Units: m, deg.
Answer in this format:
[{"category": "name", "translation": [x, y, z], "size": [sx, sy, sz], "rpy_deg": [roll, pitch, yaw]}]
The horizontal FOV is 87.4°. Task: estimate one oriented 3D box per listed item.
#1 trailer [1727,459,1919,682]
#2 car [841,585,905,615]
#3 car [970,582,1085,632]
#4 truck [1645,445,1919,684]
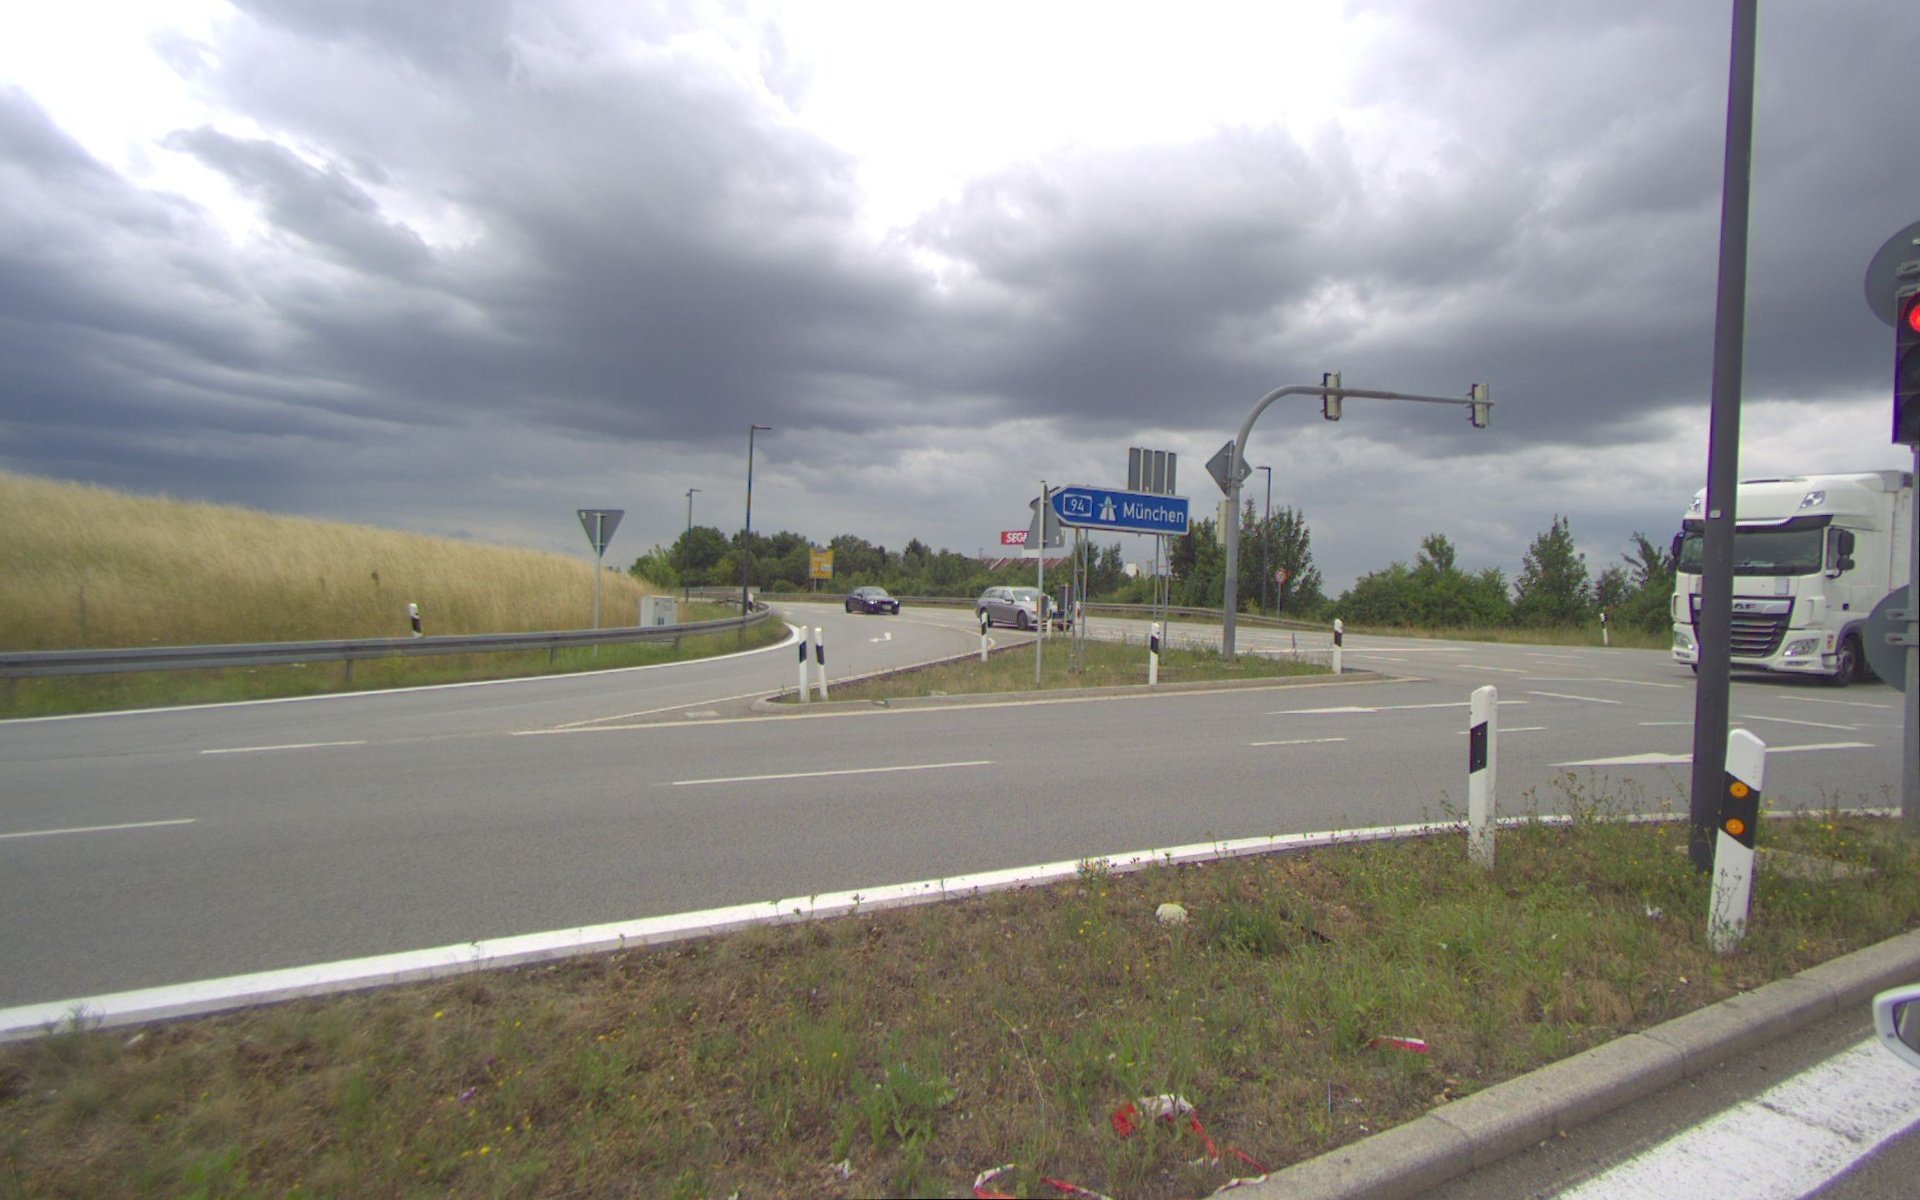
[{"category": "trailer", "translation": [23.135, -0.388, 23.775], "size": [13.674, 4.266, 2.680], "rpy_deg": [2, 0, -29]}, {"category": "car", "translation": [-4.490, -0.024, 51.054], "size": [1.690, 1.429, 4.644], "rpy_deg": [2, 0, -26]}, {"category": "car", "translation": [2.313, 0.208, 35.892], "size": [1.896, 1.632, 4.916], "rpy_deg": [2, 0, -26]}, {"category": "truck", "translation": [17.089, -0.550, 20.363], "size": [6.325, 4.196, 2.638], "rpy_deg": [2, 0, -29]}]
